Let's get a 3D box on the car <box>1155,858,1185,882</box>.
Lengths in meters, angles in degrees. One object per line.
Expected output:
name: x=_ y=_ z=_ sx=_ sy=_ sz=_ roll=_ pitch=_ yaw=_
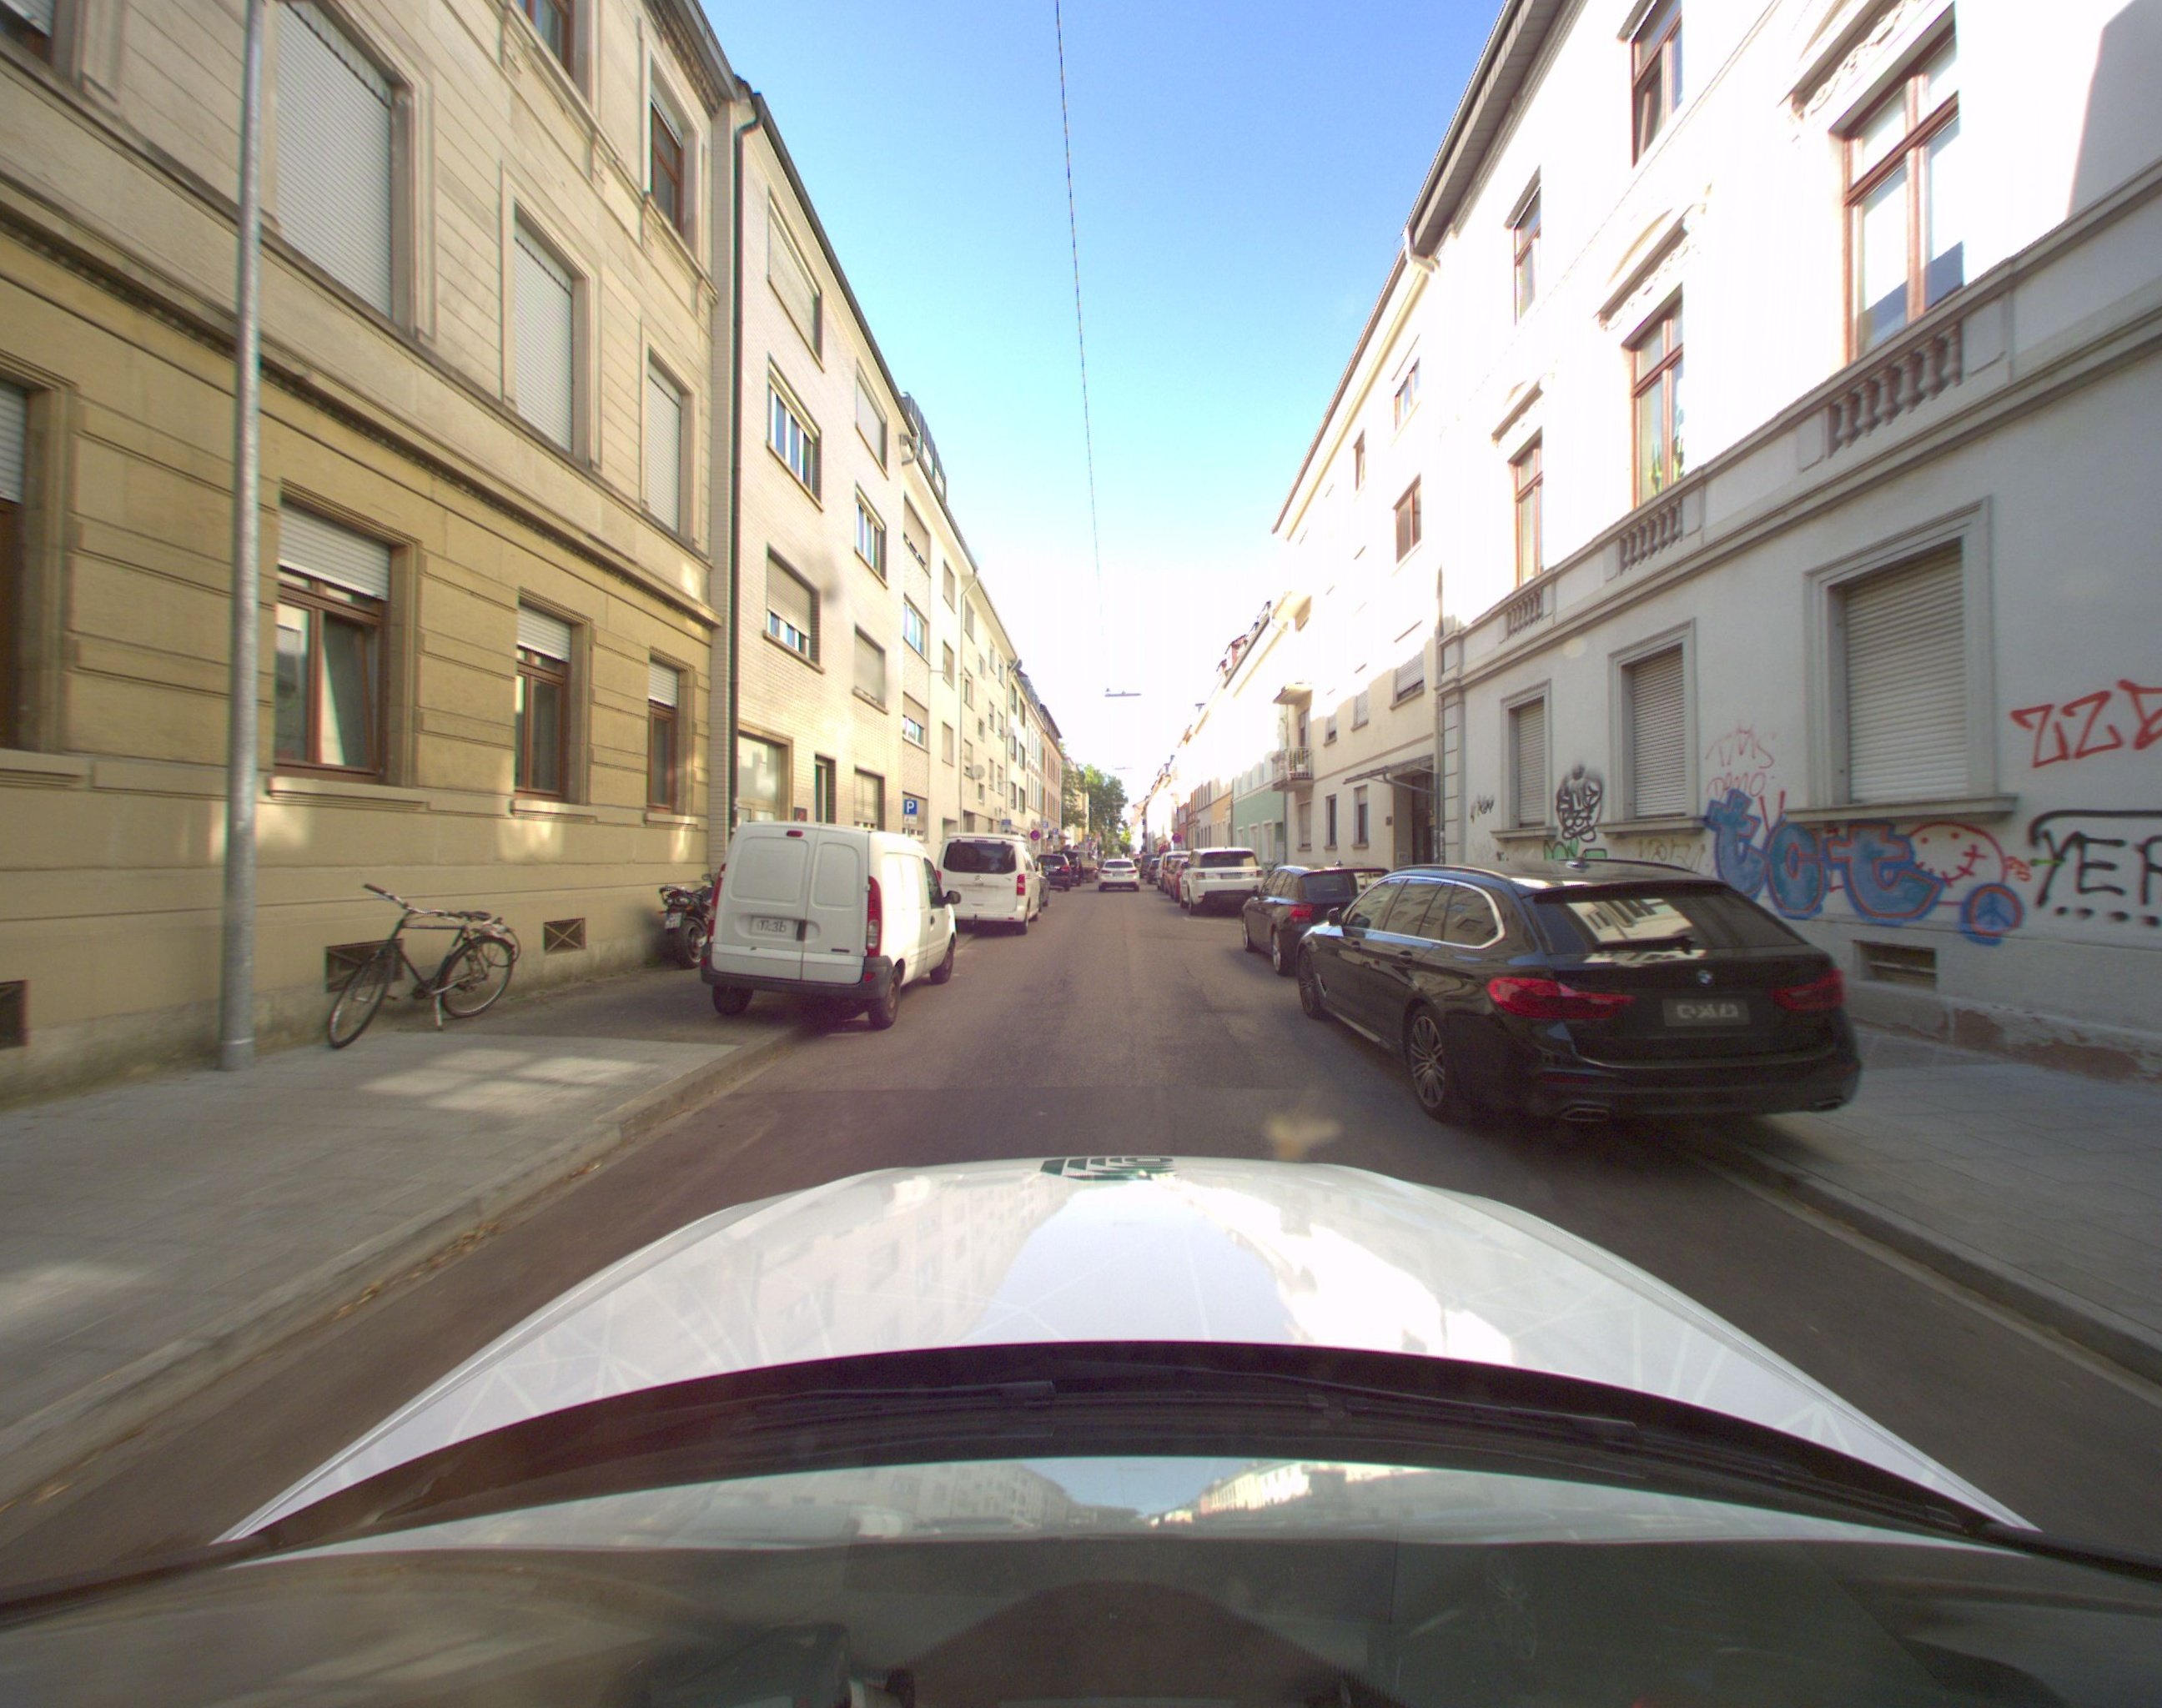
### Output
car: x=6.080 y=1.074 z=56.010 sx=1.735 sy=1.569 sz=4.034 roll=0 pitch=0 yaw=2

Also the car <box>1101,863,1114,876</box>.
car: x=3.519 y=2.051 z=108.234 sx=1.618 sy=1.597 sz=3.583 roll=0 pitch=0 yaw=3

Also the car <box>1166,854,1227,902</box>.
car: x=3.983 y=0.790 z=28.690 sx=1.735 sy=1.569 sz=4.034 roll=0 pitch=0 yaw=2

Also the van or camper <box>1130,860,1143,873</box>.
van or camper: x=8.912 y=2.061 z=131.165 sx=1.985 sy=1.926 sz=4.002 roll=-1 pitch=-2 yaw=3

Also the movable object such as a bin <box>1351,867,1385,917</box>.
movable object such as a bin: x=6.400 y=0.846 z=18.191 sx=0.574 sy=1.071 sz=0.553 roll=-1 pitch=-1 yaw=5

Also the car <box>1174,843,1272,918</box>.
car: x=3.699 y=0.627 z=22.059 sx=1.997 sy=1.783 sz=4.942 roll=0 pitch=0 yaw=2

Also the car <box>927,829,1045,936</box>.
car: x=-1.905 y=0.532 z=17.791 sx=1.888 sy=1.958 sz=4.782 roll=2 pitch=0 yaw=1

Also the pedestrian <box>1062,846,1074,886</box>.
pedestrian: x=-0.726 y=0.669 z=45.731 sx=0.616 sy=2.229 sz=0.688 roll=-1 pitch=-2 yaw=2

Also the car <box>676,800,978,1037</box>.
car: x=-2.384 y=0.526 z=8.850 sx=1.737 sy=1.876 sz=4.092 roll=3 pitch=0 yaw=2

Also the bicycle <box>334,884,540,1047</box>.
bicycle: x=-5.165 y=0.836 z=6.654 sx=0.431 sy=1.125 sz=1.509 roll=0 pitch=0 yaw=2

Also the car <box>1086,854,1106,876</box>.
car: x=1.303 y=0.983 z=71.794 sx=1.641 sy=1.868 sz=3.999 roll=0 pitch=0 yaw=0

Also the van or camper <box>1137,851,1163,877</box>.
van or camper: x=5.722 y=0.805 z=68.056 sx=1.769 sy=2.036 sz=4.570 roll=-2 pitch=-1 yaw=1

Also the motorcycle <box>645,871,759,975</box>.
motorcycle: x=-4.885 y=0.839 z=10.669 sx=0.431 sy=1.185 sz=2.122 roll=0 pitch=0 yaw=2

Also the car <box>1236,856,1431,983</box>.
car: x=3.398 y=0.793 z=11.725 sx=1.739 sy=1.448 sz=3.872 roll=2 pitch=0 yaw=2

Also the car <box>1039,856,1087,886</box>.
car: x=-0.985 y=0.967 z=48.040 sx=2.431 sy=1.706 sz=5.246 roll=0 pitch=0 yaw=3

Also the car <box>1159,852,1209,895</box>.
car: x=4.168 y=0.774 z=33.440 sx=1.575 sy=1.632 sz=3.681 roll=1 pitch=0 yaw=0

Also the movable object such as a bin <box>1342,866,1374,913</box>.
movable object such as a bin: x=6.430 y=0.818 z=18.914 sx=0.574 sy=1.071 sz=0.553 roll=-1 pitch=-1 yaw=5

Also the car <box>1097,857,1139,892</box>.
car: x=1.726 y=0.897 z=37.214 sx=1.826 sy=1.486 sz=4.061 roll=0 pitch=-1 yaw=4

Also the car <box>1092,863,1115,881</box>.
car: x=1.837 y=1.449 z=66.855 sx=1.752 sy=1.416 sz=4.001 roll=-2 pitch=0 yaw=1

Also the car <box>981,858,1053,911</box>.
car: x=-1.845 y=0.856 z=24.642 sx=1.700 sy=1.450 sz=4.303 roll=0 pitch=0 yaw=1

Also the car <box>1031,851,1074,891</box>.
car: x=-1.338 y=0.763 z=39.392 sx=1.874 sy=1.755 sz=4.541 roll=3 pitch=0 yaw=-1

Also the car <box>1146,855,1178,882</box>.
car: x=4.972 y=0.881 z=50.578 sx=1.732 sy=1.577 sz=4.380 roll=0 pitch=0 yaw=2

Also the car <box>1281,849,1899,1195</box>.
car: x=2.900 y=0.754 z=6.088 sx=1.807 sy=1.519 sz=4.730 roll=2 pitch=0 yaw=2

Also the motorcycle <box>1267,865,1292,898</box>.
motorcycle: x=6.603 y=0.900 z=27.144 sx=0.478 sy=1.046 sz=1.692 roll=0 pitch=0 yaw=2

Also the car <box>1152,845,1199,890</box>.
car: x=4.346 y=0.620 z=38.012 sx=1.775 sy=1.961 sz=4.337 roll=0 pitch=-1 yaw=2

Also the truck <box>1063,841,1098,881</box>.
truck: x=-0.092 y=0.527 z=55.830 sx=2.151 sy=2.590 sz=6.244 roll=-1 pitch=-2 yaw=-2

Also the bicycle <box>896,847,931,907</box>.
bicycle: x=-4.408 y=0.593 z=21.527 sx=0.555 sy=1.509 sz=1.799 roll=1 pitch=-1 yaw=-1
